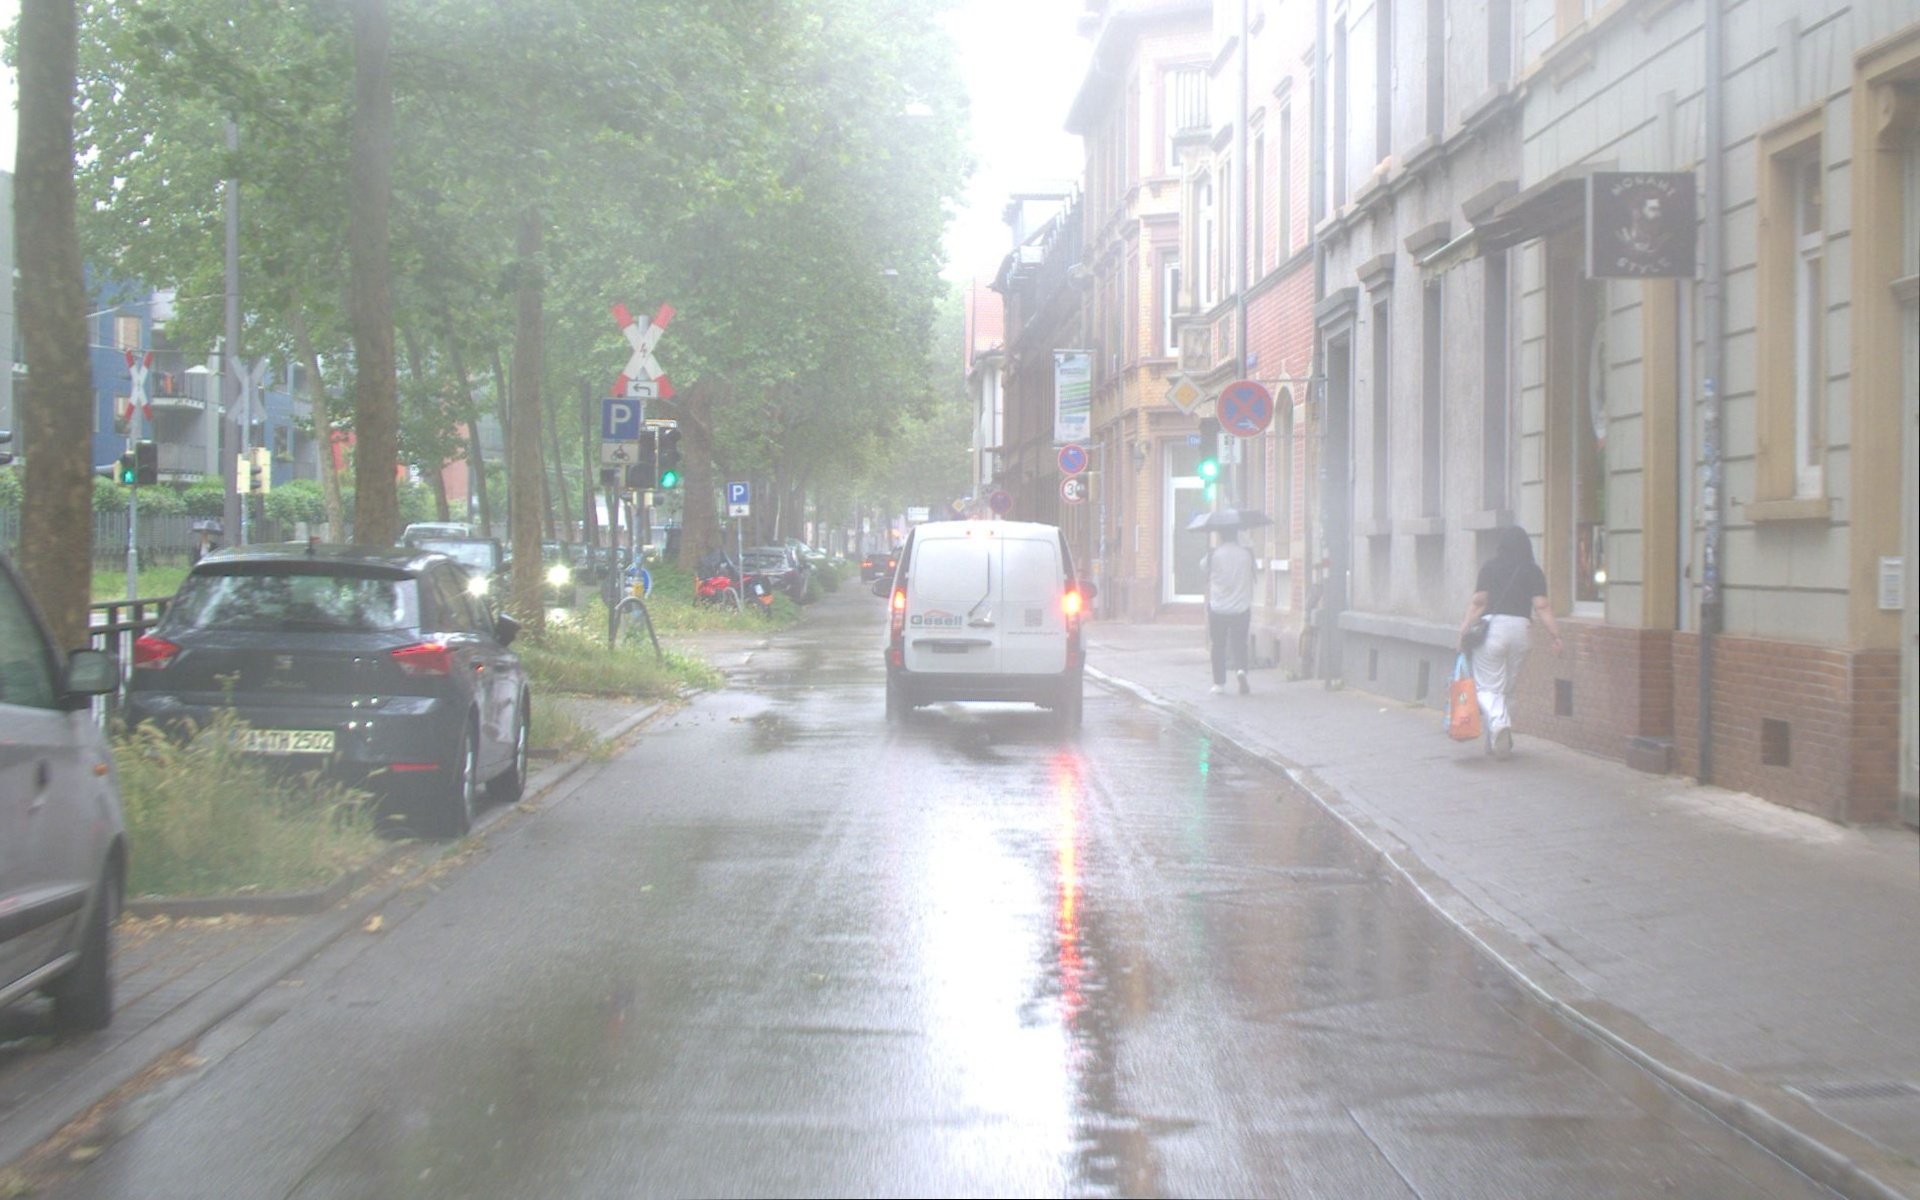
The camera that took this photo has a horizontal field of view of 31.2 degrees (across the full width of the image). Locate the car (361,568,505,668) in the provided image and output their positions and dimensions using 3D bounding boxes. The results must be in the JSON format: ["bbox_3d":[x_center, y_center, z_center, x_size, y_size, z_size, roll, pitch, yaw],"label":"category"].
[{"bbox_3d":[-9.154,0.286,59.940,1.997,1.607,4.001,1,1,-2],"label":"car"}]

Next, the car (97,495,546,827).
[{"bbox_3d":[-3.253,0.262,18.247,1.649,1.495,4.119,2,1,-1],"label":"car"}]

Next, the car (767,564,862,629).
[{"bbox_3d":[-3.304,-0.099,78.788,1.993,1.382,4.000,1,1,0],"label":"car"}]

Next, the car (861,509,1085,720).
[{"bbox_3d":[0.089,0.131,31.619,1.903,1.791,4.113,1,0,-1],"label":"car"}]

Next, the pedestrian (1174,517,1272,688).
[{"bbox_3d":[2.714,0.014,35.551,0.840,1.710,1.108,-3,1,-1],"label":"pedestrian"}]

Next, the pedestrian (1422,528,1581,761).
[{"bbox_3d":[3.652,0.285,23.257,0.840,1.506,1.108,-2,1,-1],"label":"pedestrian"}]

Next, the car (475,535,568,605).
[{"bbox_3d":[-10.542,-0.746,82.884,1.997,1.607,4.124,1,1,-4],"label":"car"}]

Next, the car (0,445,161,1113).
[{"bbox_3d":[-3.226,0.418,8.959,1.623,1.676,3.660,2,2,-4],"label":"car"}]

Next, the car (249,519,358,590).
[{"bbox_3d":[-13.632,-0.969,71.575,1.993,1.410,4.001,1,1,-8],"label":"car"}]

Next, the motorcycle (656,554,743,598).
[{"bbox_3d":[-5.319,-0.497,70.217,1.706,0.862,0.577,1,1,4],"label":"motorcycle"}]
